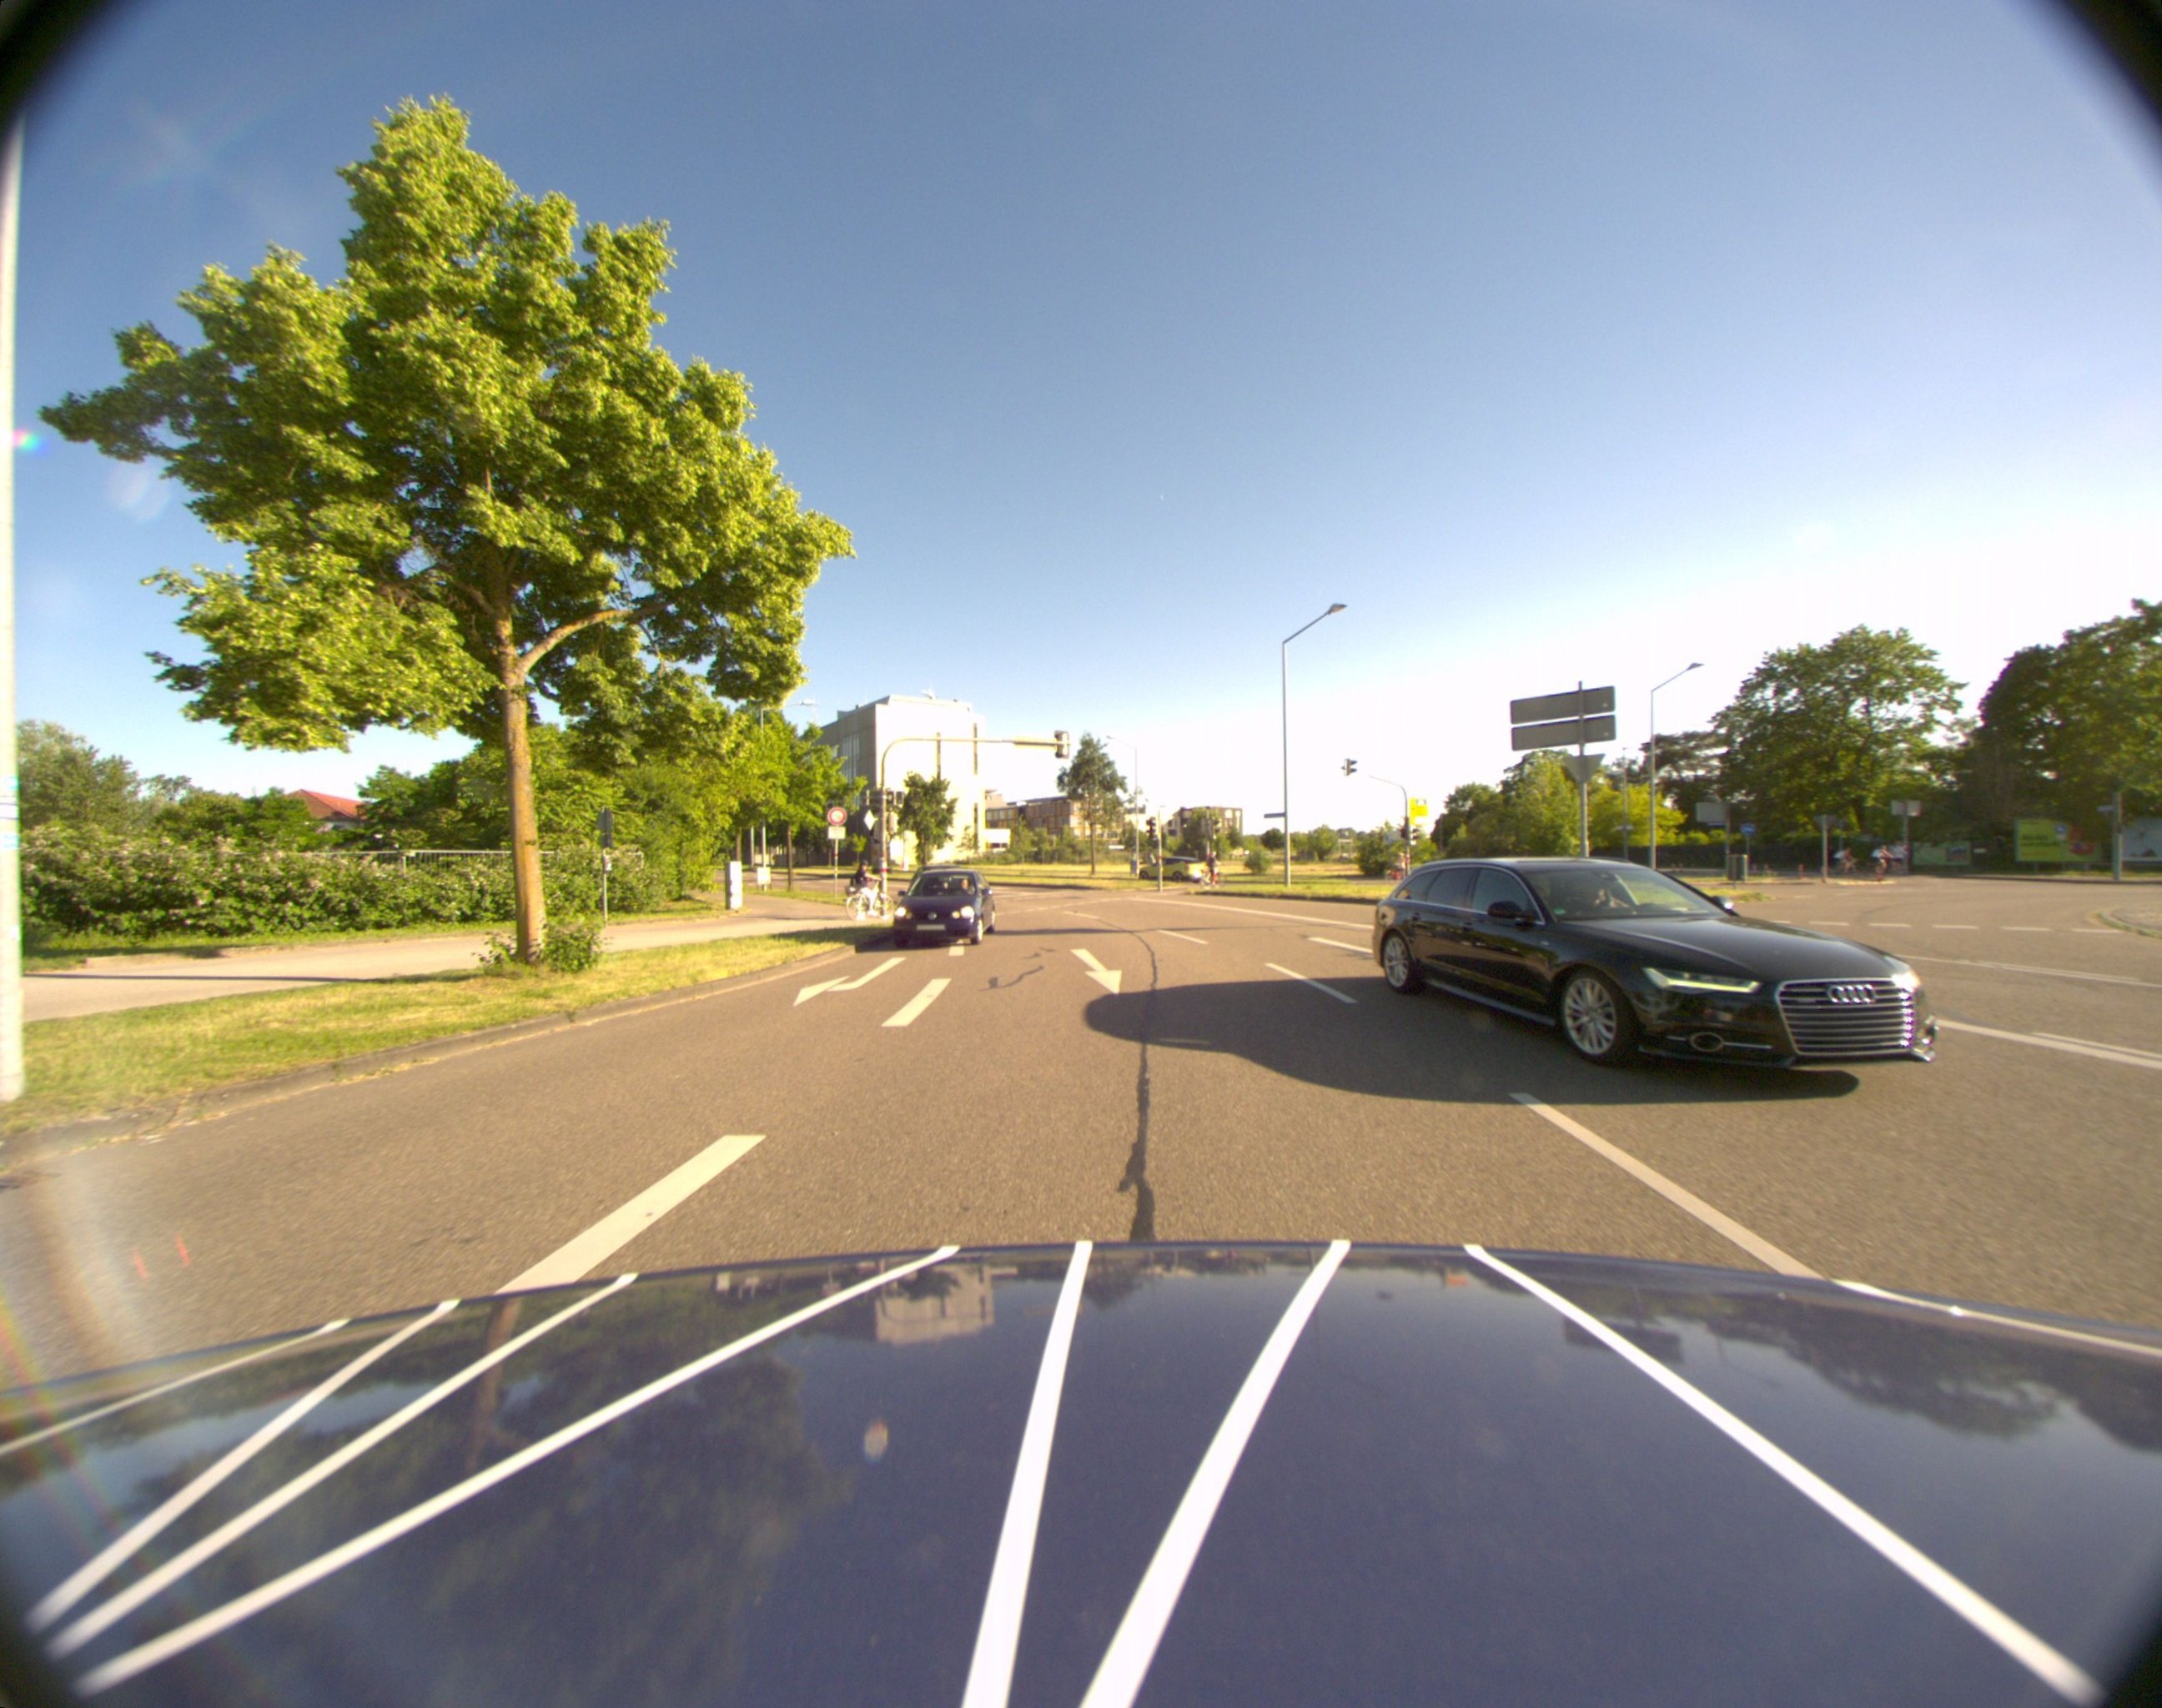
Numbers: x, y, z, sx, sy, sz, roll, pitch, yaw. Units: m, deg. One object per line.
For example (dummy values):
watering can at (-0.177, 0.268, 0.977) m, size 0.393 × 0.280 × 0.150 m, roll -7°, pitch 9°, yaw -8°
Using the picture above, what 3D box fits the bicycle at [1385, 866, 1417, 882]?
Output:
bicycle at (17.960, 1.115, 42.606) m, size 1.892 × 0.847 × 0.616 m, roll -1°, pitch 0°, yaw -31°

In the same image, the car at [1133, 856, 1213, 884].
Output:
car at (5.391, 0.908, 44.745) m, size 4.312 × 1.532 × 2.013 m, roll -1°, pitch 0°, yaw 45°

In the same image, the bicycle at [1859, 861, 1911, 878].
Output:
bicycle at (42.816, 0.815, 40.490) m, size 1.885 × 0.847 × 0.618 m, roll -1°, pitch 0°, yaw 13°

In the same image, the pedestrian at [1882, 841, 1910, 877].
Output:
pedestrian at (45.800, 0.274, 42.715) m, size 0.941 × 1.994 × 0.590 m, roll 0°, pitch 1°, yaw 29°

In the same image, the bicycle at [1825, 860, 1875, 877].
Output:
bicycle at (41.985, 0.793, 41.516) m, size 1.885 × 0.847 × 0.618 m, roll -1°, pitch 0°, yaw 13°

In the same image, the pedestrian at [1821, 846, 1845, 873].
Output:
pedestrian at (55.379, 0.412, 55.983) m, size 0.900 × 2.002 × 0.819 m, roll 0°, pitch 2°, yaw 6°

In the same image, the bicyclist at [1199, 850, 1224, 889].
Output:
bicyclist at (5.738, 0.676, 33.382) m, size 0.702 × 1.654 × 0.945 m, roll 1°, pitch 3°, yaw 44°

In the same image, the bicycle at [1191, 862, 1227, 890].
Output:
bicycle at (5.609, 0.948, 33.238) m, size 0.702 × 1.122 × 1.659 m, roll 1°, pitch 2°, yaw 44°

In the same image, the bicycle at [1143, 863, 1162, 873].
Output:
bicycle at (5.851, 1.133, 62.097) m, size 0.492 × 0.847 × 1.884 m, roll -1°, pitch 0°, yaw -33°

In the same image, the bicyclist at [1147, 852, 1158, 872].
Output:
bicyclist at (5.868, 0.645, 62.042) m, size 0.434 × 1.555 × 0.849 m, roll -1°, pitch 1°, yaw -33°

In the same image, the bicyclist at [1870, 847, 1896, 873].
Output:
bicyclist at (42.810, 0.334, 40.568) m, size 0.718 × 1.384 × 0.618 m, roll -1°, pitch 1°, yaw 13°

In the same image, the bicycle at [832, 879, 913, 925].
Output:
bicycle at (-5.847, 1.306, 21.428) m, size 0.874 × 1.148 × 2.221 m, roll 1°, pitch 1°, yaw 30°

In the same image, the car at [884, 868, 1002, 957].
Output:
car at (-2.728, 1.106, 16.018) m, size 1.637 × 1.459 × 4.545 m, roll -1°, pitch 0°, yaw 0°

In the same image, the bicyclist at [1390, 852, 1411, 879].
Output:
bicyclist at (17.911, 0.655, 42.570) m, size 0.927 × 1.508 × 0.616 m, roll -1°, pitch 1°, yaw -31°

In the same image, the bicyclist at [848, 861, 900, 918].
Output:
bicyclist at (-5.836, 0.978, 21.446) m, size 0.874 × 1.553 × 1.090 m, roll 1°, pitch 1°, yaw 30°

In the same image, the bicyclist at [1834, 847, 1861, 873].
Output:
bicyclist at (41.905, 0.314, 41.531) m, size 0.836 × 1.384 × 0.618 m, roll -1°, pitch 1°, yaw 13°

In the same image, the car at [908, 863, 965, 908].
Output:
car at (-5.484, 1.133, 28.563) m, size 1.759 × 1.446 × 3.994 m, roll -2°, pitch 1°, yaw -15°

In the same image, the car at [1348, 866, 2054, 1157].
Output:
car at (4.265, 0.883, 6.608) m, size 1.797 × 1.435 × 5.015 m, roll -2°, pitch 0°, yaw -4°

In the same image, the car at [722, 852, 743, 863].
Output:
car at (-56.157, 0.604, 122.521) m, size 2.004 × 1.729 × 4.725 m, roll -1°, pitch 1°, yaw -38°
